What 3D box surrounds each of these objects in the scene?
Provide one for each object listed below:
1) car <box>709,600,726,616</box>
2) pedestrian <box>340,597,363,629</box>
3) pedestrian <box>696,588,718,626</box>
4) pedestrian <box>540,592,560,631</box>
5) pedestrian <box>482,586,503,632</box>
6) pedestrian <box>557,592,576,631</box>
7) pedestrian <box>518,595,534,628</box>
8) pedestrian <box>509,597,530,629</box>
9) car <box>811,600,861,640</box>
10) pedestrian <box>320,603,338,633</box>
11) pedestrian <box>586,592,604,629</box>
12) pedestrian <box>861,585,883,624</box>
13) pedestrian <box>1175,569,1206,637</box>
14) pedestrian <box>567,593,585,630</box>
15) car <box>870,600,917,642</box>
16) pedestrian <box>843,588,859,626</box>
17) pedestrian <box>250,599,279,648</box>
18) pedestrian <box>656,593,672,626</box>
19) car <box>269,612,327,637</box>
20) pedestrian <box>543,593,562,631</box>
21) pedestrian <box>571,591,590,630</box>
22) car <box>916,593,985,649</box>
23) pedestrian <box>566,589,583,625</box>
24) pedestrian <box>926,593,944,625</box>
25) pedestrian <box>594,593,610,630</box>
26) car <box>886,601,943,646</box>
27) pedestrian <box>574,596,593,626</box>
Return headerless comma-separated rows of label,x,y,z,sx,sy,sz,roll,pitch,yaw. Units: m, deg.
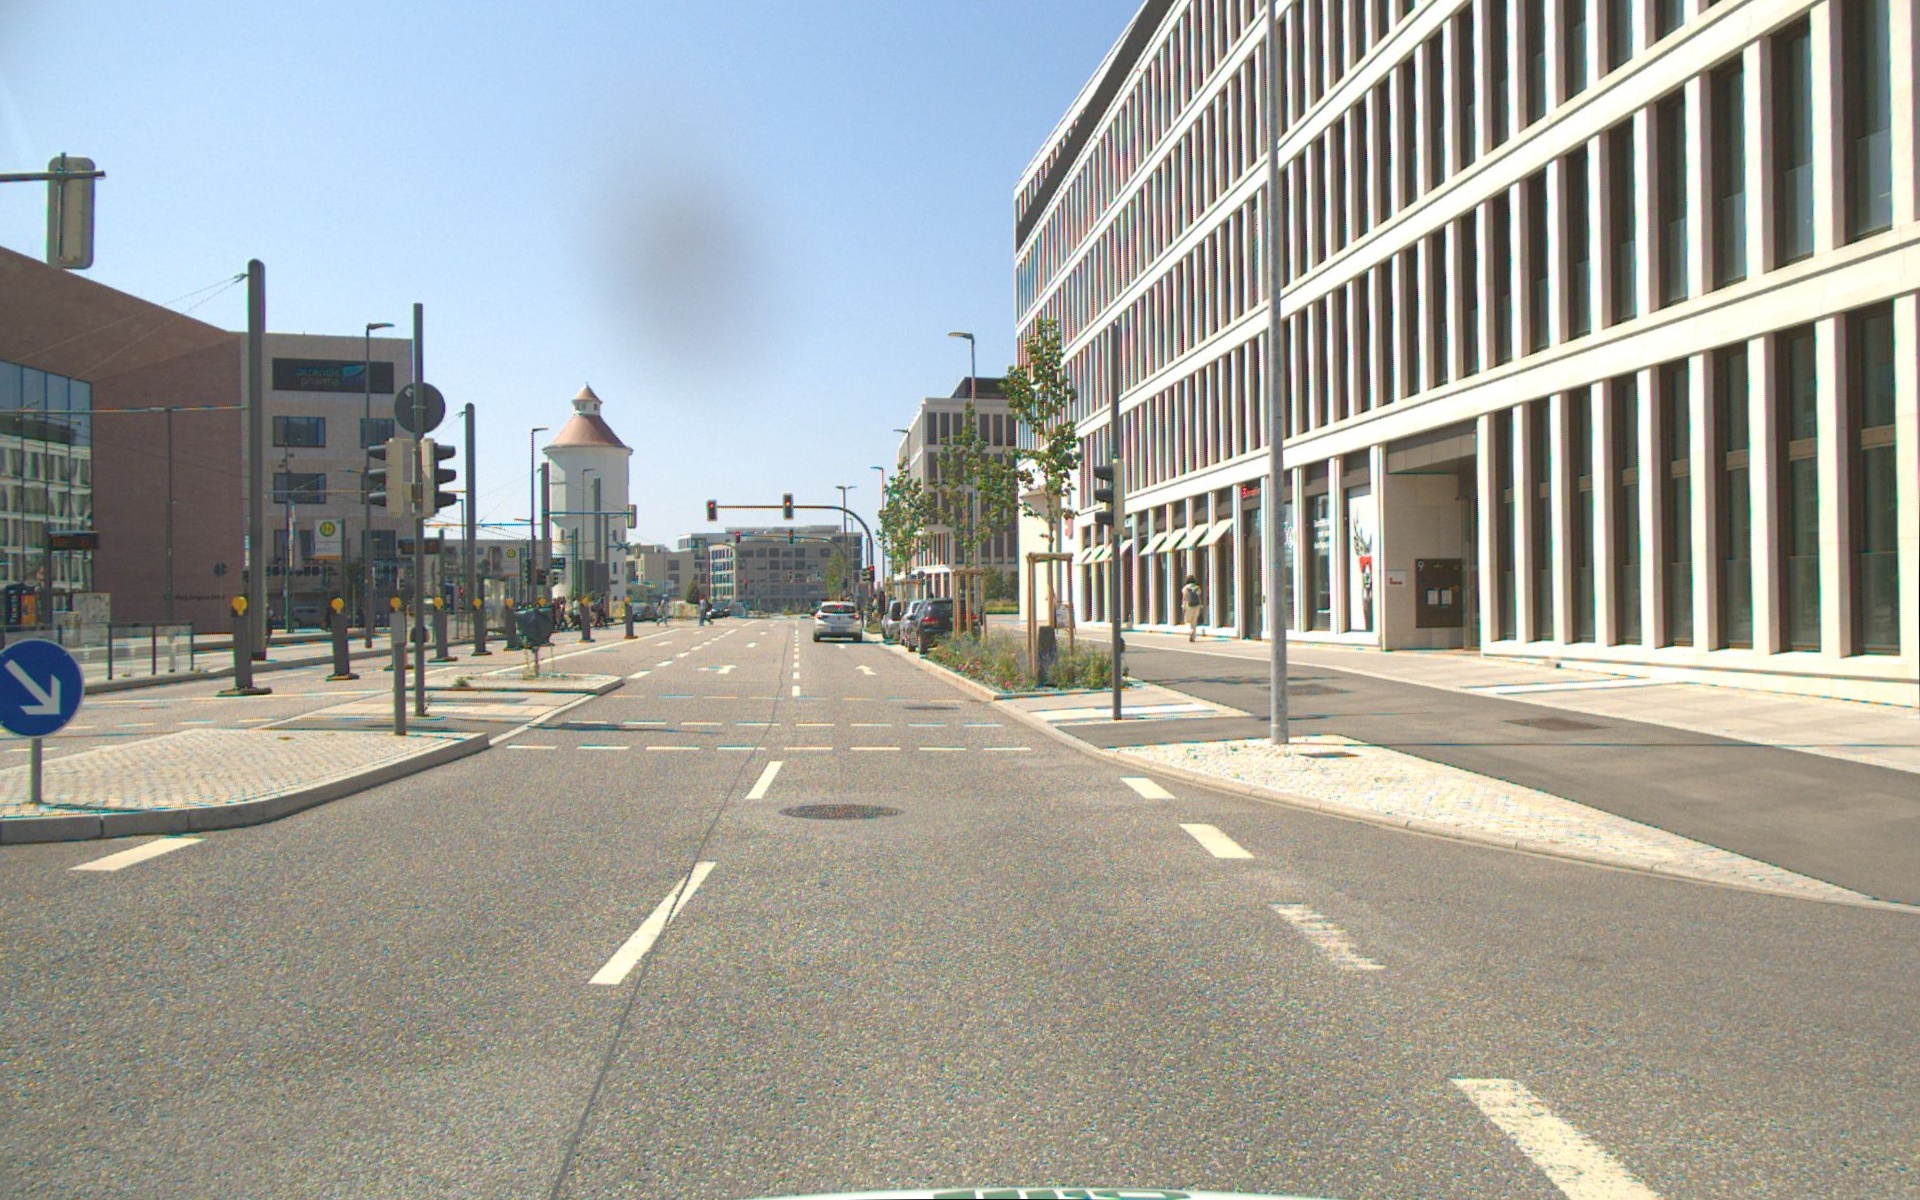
car,-25.065,0.862,171.055,1.556,1.557,3.687,0,-1,-7
pedestrian,-36.587,0.787,99.465,0.869,1.923,0.985,-1,0,14
pedestrian,-14.122,0.386,92.319,1.007,2.049,0.947,-1,0,-24
pedestrian,-20.398,0.553,82.268,0.872,1.923,0.690,-1,0,-11
pedestrian,-19.132,0.366,67.648,0.655,1.852,0.716,1,-1,-29
pedestrian,-19.870,0.577,83.623,0.872,1.923,0.690,-1,0,-11
pedestrian,-21.887,0.590,83.427,0.620,1.646,0.768,-1,0,0
pedestrian,-23.192,0.680,87.130,0.892,1.665,0.814,-1,0,-1
car,-4.549,0.769,60.944,1.736,1.419,3.528,1,-1,-4
pedestrian,-34.372,0.995,90.056,0.697,1.599,0.889,-1,0,-6
pedestrian,-19.366,0.555,87.701,0.824,1.923,0.691,-1,0,-5
pedestrian,-4.444,0.228,83.497,0.994,1.923,0.797,-1,0,-9
pedestrian,6.111,0.071,43.892,0.615,1.773,0.813,-1,0,-6
pedestrian,-19.868,0.594,85.555,0.751,1.923,0.691,-1,0,-5
car,-2.494,0.752,61.593,1.526,1.498,3.465,-1,0,-6
pedestrian,-5.585,0.368,84.854,0.715,1.923,0.821,-1,0,0
pedestrian,-26.255,0.876,62.456,0.795,1.852,0.824,1,-1,-5
pedestrian,-15.892,0.515,88.682,0.751,1.764,0.691,-1,0,-5
car,-49.342,1.862,123.326,3.880,1.848,1.789,0,-1,-18
pedestrian,-20.738,0.603,84.245,0.872,1.923,0.690,-1,0,-11
pedestrian,-18.980,0.518,82.727,0.872,1.923,0.690,-1,0,-11
car,-0.311,0.591,46.311,1.702,1.500,3.977,0,-1,-4
pedestrian,-20.586,0.378,88.359,0.719,1.923,0.713,1,-1,-1
pedestrian,-1.299,0.487,86.046,0.750,1.648,0.692,-1,0,11
pedestrian,-18.802,0.586,86.872,0.751,1.923,0.691,-1,0,-5
car,-1.525,0.739,54.235,1.574,1.412,3.810,-1,0,-6
pedestrian,-21.142,0.632,92.950,0.870,1.675,0.796,-1,0,-2
